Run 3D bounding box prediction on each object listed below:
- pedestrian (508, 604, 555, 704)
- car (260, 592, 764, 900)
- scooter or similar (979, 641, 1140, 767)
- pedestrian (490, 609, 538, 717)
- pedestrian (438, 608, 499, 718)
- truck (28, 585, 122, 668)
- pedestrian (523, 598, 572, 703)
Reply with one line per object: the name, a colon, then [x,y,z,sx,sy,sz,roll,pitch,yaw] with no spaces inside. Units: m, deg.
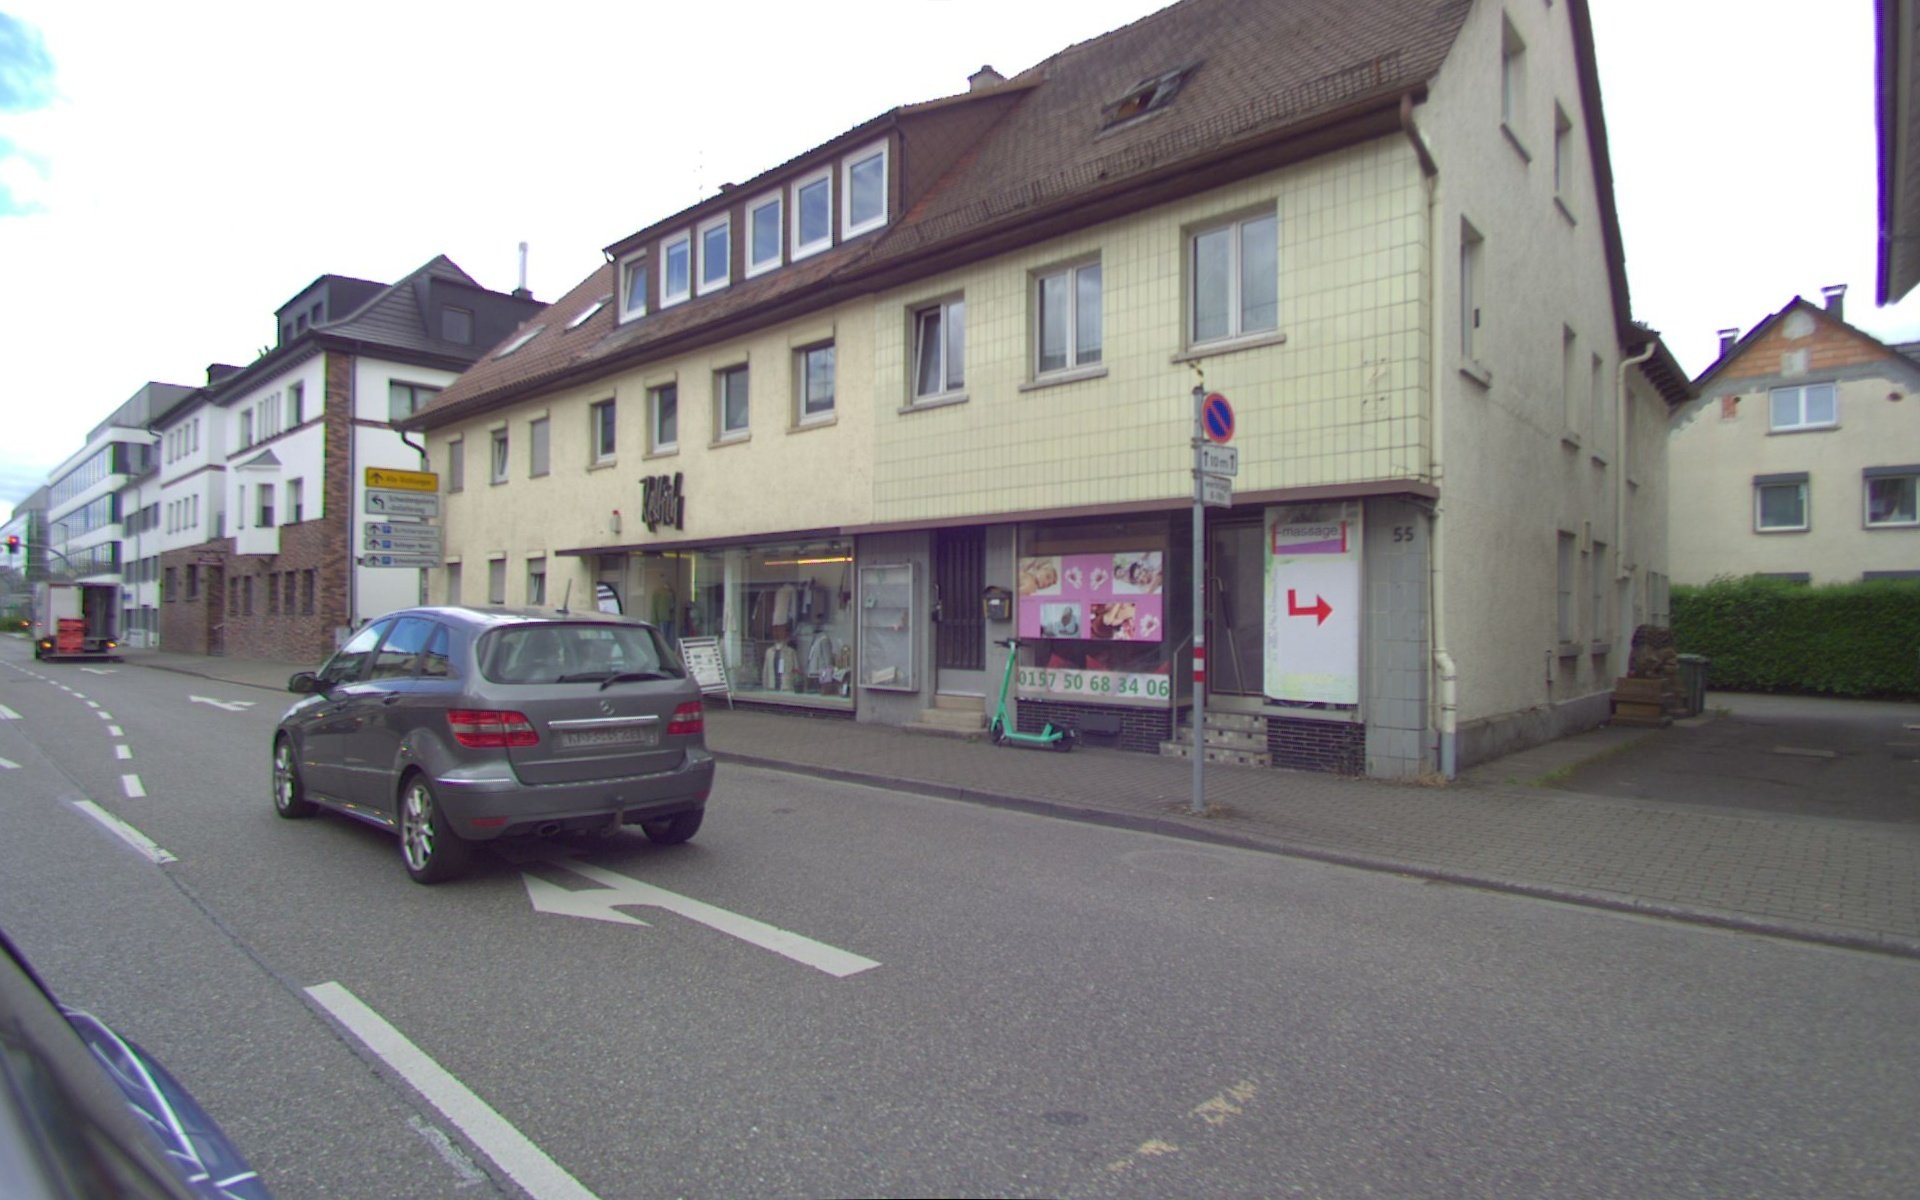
pedestrian: [-7.693,0.960,18.160,0.648,1.750,0.547,-2,-3,43]
car: [-3.361,0.821,7.197,4.074,1.564,1.761,-1,-4,43]
scooter or similar: [1.010,1.043,10.623,1.722,1.179,0.522,-1,-1,44]
pedestrian: [-7.467,1.039,16.938,0.648,1.750,0.491,-2,-3,43]
pedestrian: [-8.137,1.026,16.758,0.717,1.750,0.670,-2,-3,43]
truck: [-34.789,1.004,39.726,2.434,2.993,5.968,0,-1,-44]
pedestrian: [-7.058,0.860,17.309,0.648,1.750,0.547,-2,-3,43]
